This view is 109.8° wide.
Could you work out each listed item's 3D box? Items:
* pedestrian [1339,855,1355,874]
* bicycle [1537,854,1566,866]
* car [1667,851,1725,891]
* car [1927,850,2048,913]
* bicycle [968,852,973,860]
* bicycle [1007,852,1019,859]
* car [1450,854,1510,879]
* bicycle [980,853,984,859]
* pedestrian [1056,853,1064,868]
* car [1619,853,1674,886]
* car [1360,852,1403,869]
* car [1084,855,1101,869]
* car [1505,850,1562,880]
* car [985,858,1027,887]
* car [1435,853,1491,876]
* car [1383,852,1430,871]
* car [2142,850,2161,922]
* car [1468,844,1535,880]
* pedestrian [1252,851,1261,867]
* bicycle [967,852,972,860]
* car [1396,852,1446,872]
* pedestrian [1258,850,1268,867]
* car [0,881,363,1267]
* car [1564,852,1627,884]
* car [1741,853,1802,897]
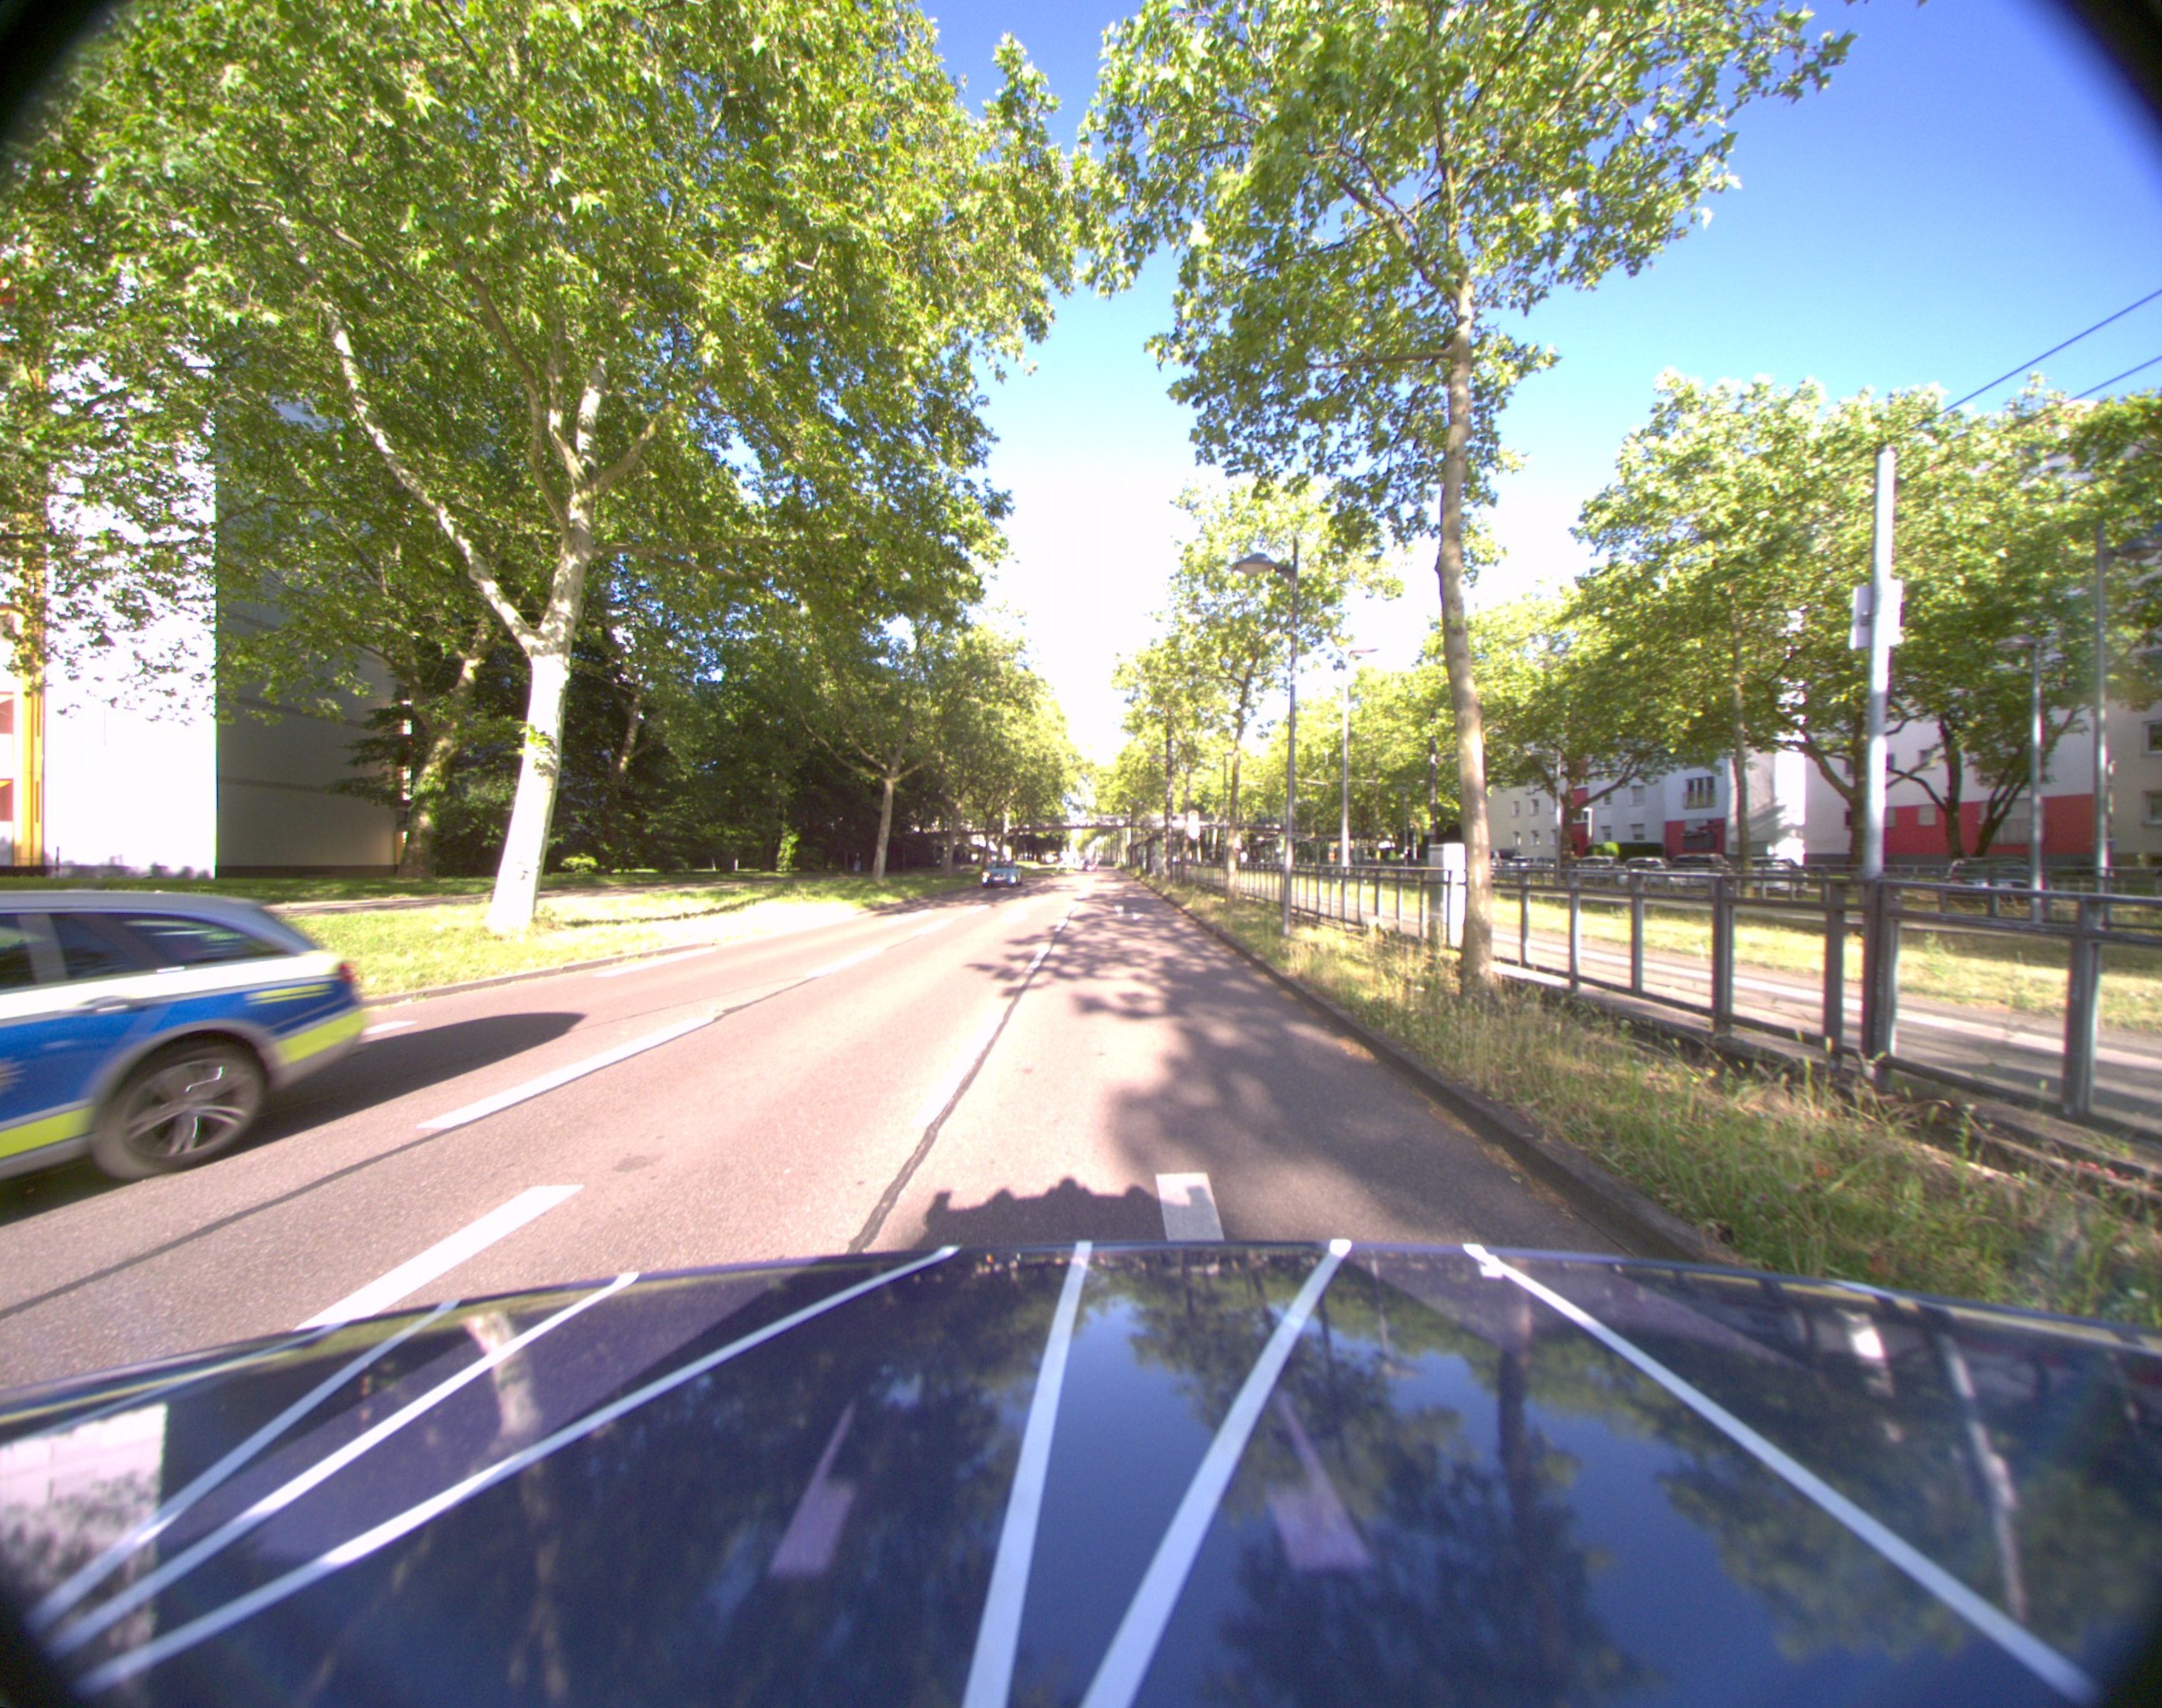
[{"bbox_3d":[16.285,0.643,46.538,0.696,1.121,0.662,3,1,2],"label":"pedestrian"},{"bbox_3d":[38.358,0.462,61.974,0.697,0.922,2.595,-2,-1,-2],"label":"bicycle"},{"bbox_3d":[25.829,0.686,31.859,1.571,1.559,4.068,-2,-1,43],"label":"car"},{"bbox_3d":[24.943,0.702,21.042,1.642,1.535,4.184,-2,-1,43],"label":"car"},{"bbox_3d":[-19.611,0.346,134.715,0.577,1.246,1.806,-2,1,0],"label":"bicycle"},{"bbox_3d":[-12.389,0.315,138.134,2.073,1.151,0.561,1,1,-10],"label":"bicycle"},{"bbox_3d":[26.539,0.787,50.488,4.509,1.489,1.895,-2,-1,-40],"label":"car"},{"bbox_3d":[-18.416,0.360,141.311,0.577,1.246,1.806,-2,1,0],"label":"bicycle"},{"bbox_3d":[-2.542,0.774,91.128,0.658,1.766,0.741,-1,-1,39],"label":"pedestrian"},{"bbox_3d":[26.153,0.697,35.088,1.571,1.424,4.068,-2,-1,43],"label":"car"},{"bbox_3d":[27.532,0.599,69.589,4.208,1.420,1.696,-2,-1,-37],"label":"car"},{"bbox_3d":[1.373,0.920,89.789,1.898,1.601,4.000,-2,1,1],"label":"car"},{"bbox_3d":[26.328,0.618,44.148,4.068,1.601,1.685,-1,-1,-42],"label":"car"},{"bbox_3d":[-4.105,1.000,42.190,1.780,1.474,4.101,-2,0,2],"label":"car"},{"bbox_3d":[27.200,0.741,54.059,4.509,1.489,1.895,-2,-1,-40],"label":"car"},{"bbox_3d":[26.942,0.638,62.811,4.208,1.420,1.696,-2,-1,-37],"label":"car"},{"bbox_3d":[25.125,0.679,16.793,4.001,1.535,1.642,-1,-1,-40],"label":"car"},{"bbox_3d":[26.111,0.479,47.118,4.508,2.051,1.895,-2,-1,-37],"label":"car"},{"bbox_3d":[17.010,0.484,73.566,0.644,1.505,0.683,1,1,-11],"label":"pedestrian"},{"bbox_3d":[-19.522,0.360,132.639,0.577,1.246,1.806,-2,1,0],"label":"bicycle"},{"bbox_3d":[26.882,0.662,60.008,4.208,1.420,1.696,-2,-1,-37],"label":"car"},{"bbox_3d":[17.516,0.449,73.047,0.731,1.625,0.715,1,1,-1],"label":"pedestrian"},{"bbox_3d":[-5.704,1.002,2.658,1.897,1.623,4.503,-1,0,4],"label":"car"},{"bbox_3d":[25.901,0.681,38.209,1.895,1.495,4.509,-2,-1,43],"label":"car"},{"bbox_3d":[25.505,0.742,28.037,1.571,1.465,4.068,-2,-1,43],"label":"car"}]
